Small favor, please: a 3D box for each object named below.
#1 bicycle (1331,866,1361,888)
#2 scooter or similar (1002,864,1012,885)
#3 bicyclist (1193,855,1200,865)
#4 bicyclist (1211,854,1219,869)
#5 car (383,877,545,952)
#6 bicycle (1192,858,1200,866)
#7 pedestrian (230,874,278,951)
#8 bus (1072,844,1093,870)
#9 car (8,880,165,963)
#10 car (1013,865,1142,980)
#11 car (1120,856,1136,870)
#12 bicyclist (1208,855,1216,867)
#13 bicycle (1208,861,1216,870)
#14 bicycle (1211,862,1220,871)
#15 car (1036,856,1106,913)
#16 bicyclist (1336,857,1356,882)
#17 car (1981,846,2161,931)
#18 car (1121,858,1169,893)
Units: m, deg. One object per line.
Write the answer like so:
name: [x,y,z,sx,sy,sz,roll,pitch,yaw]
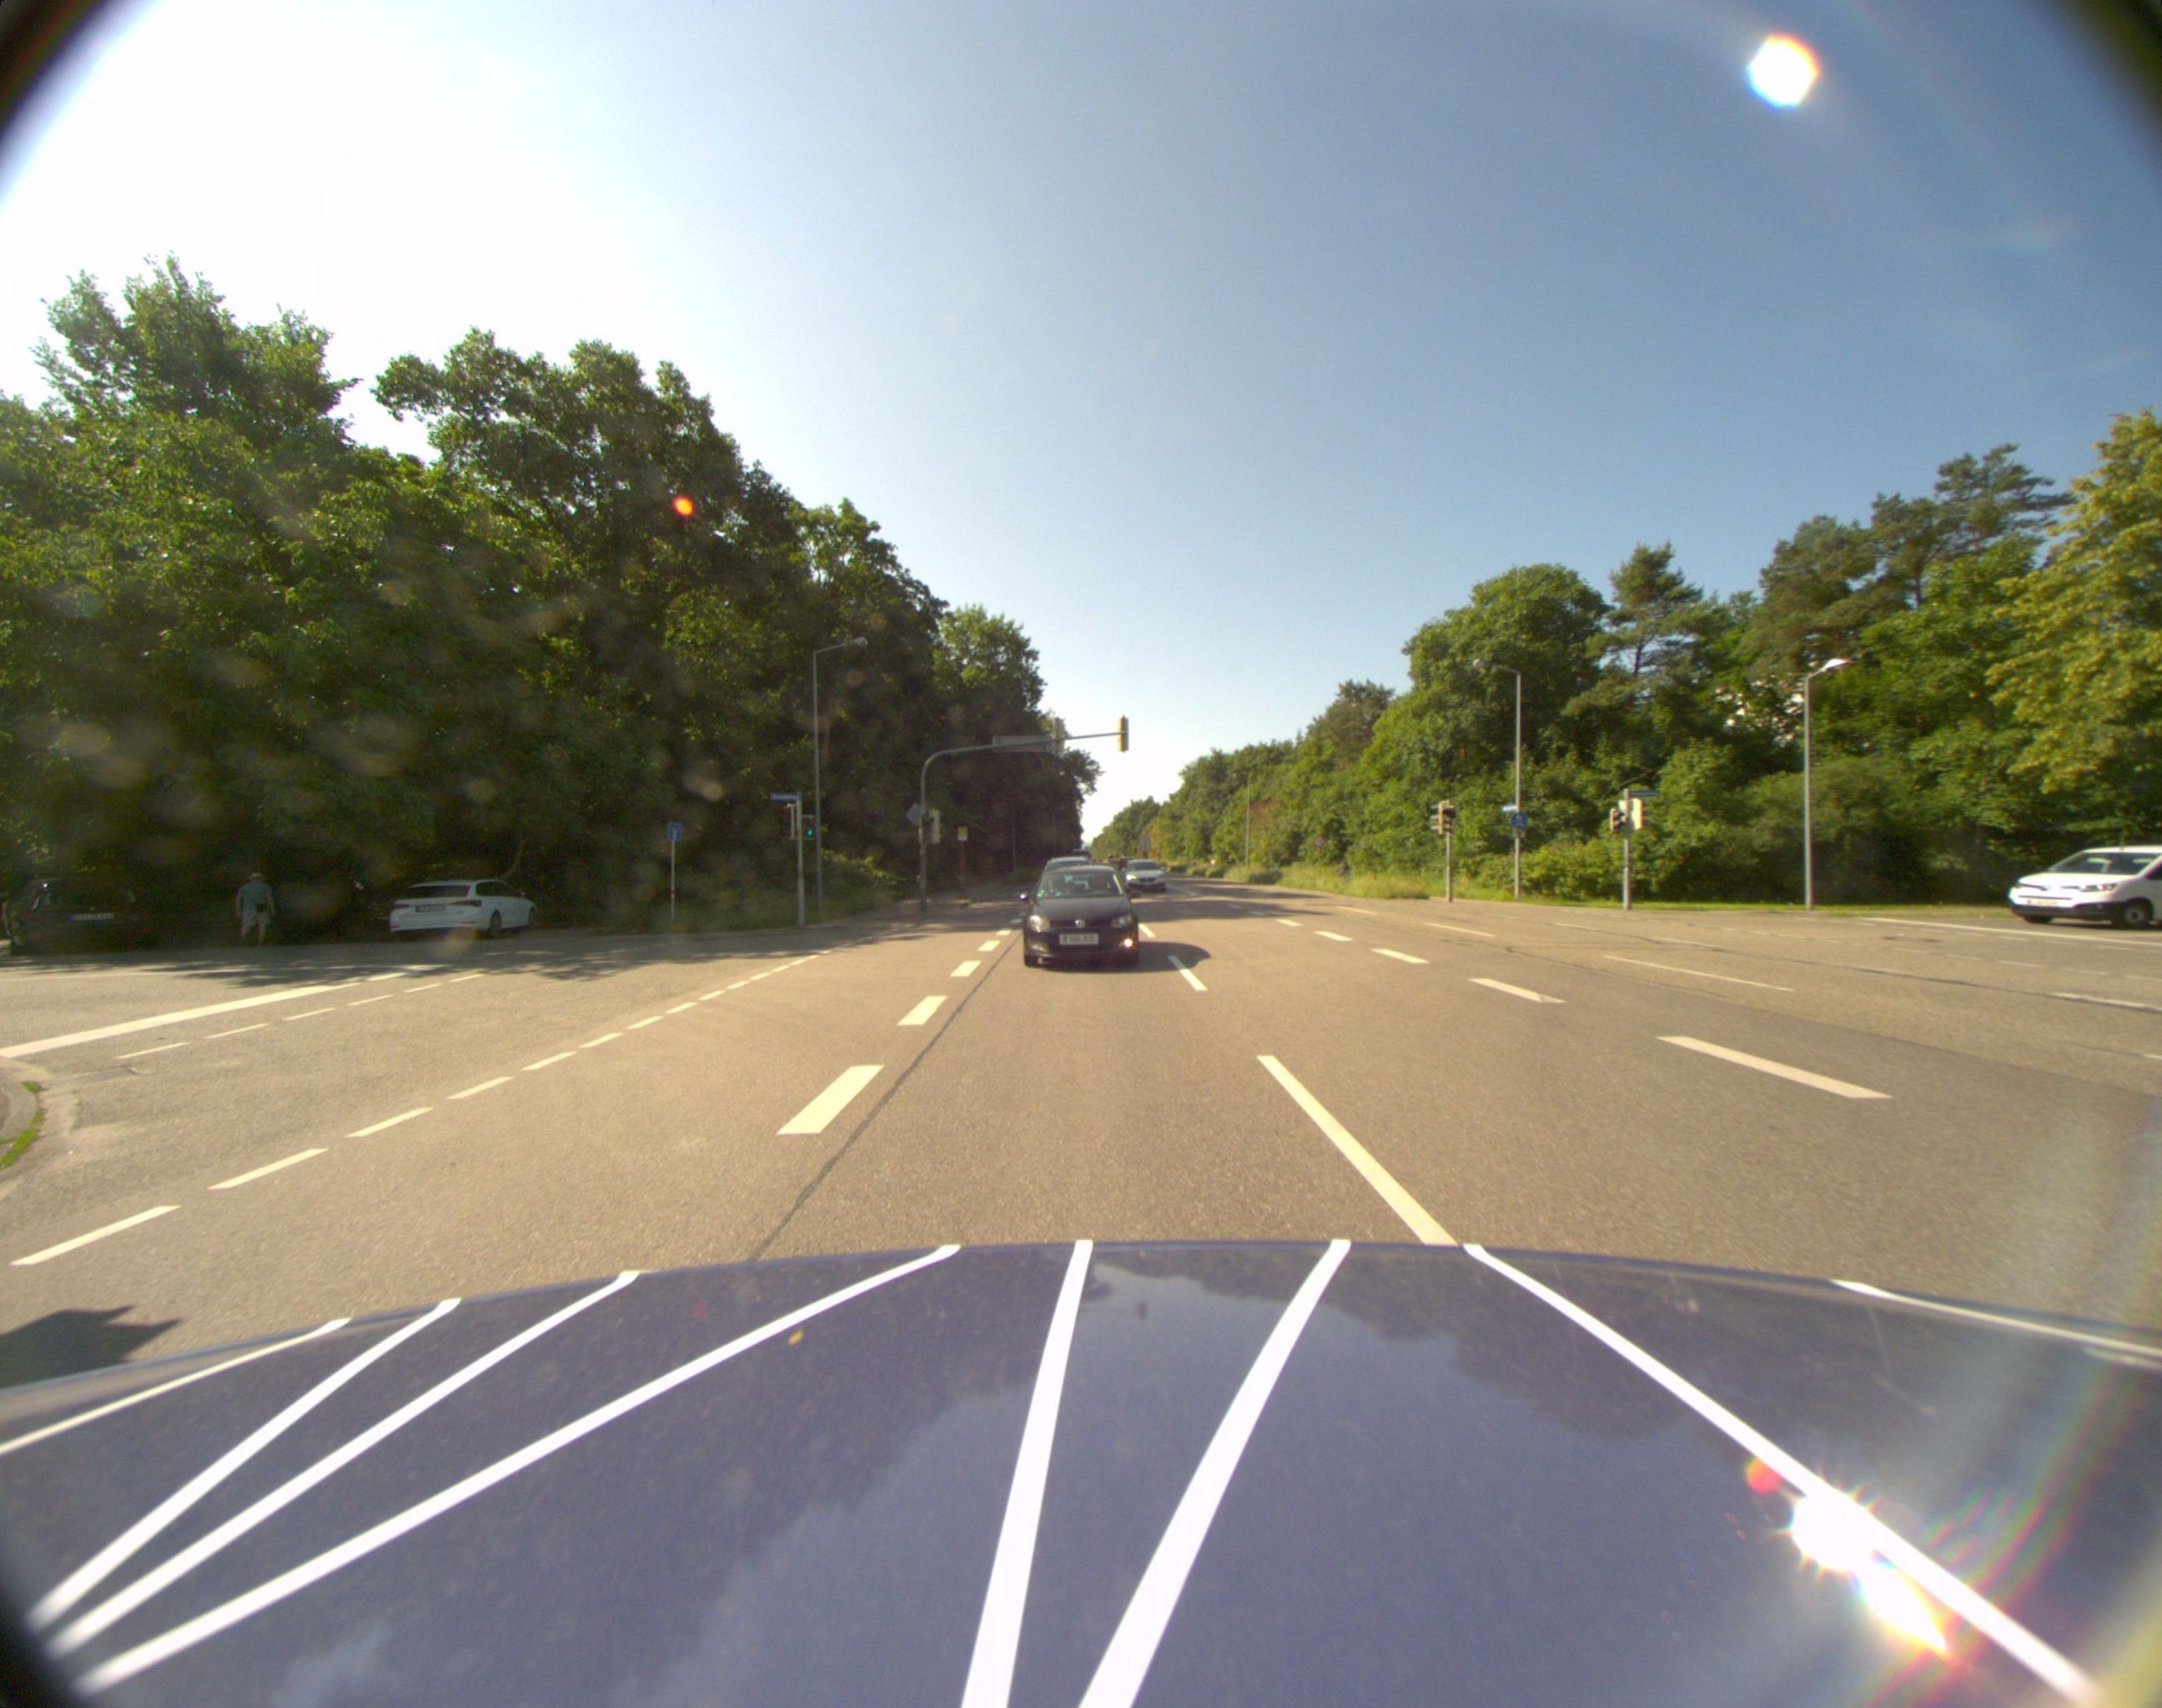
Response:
bicycle: [14.280,1.219,41.043,0.734,1.156,2.372,-1,0,-2]
scooter or similar: [-4.745,1.294,48.687,0.401,1.299,1.328,-1,0,-14]
bicyclist: [14.725,0.750,97.171,0.677,1.335,0.975,-3,1,-3]
bicyclist: [14.278,0.796,81.035,0.612,1.458,0.944,-2,1,2]
car: [-14.926,1.374,18.699,1.630,1.455,4.607,-1,0,-20]
bicycle: [14.737,1.032,97.200,0.677,0.951,1.913,-3,1,-3]
pedestrian: [-18.100,1.259,16.636,0.413,1.620,0.611,0,0,29]
bus: [0.247,0.366,109.239,2.782,3.437,7.792,-3,1,0]
car: [-20.723,1.313,15.808,3.780,1.455,1.632,-1,0,32]
car: [0.016,0.943,12.189,1.650,1.422,4.055,-3,0,2]
car: [5.964,1.089,97.764,1.795,1.687,4.391,0,1,0]
bicyclist: [14.728,0.794,85.490,0.702,1.256,0.727,-2,1,2]
bicycle: [14.710,1.300,85.535,0.605,0.952,2.139,-1,0,2]
bicycle: [14.322,1.286,80.986,0.605,0.909,2.139,-1,0,2]
car: [-0.229,0.940,25.059,1.812,1.639,4.309,-2,0,5]
bicyclist: [14.277,0.827,40.956,0.723,1.303,0.883,-1,0,-2]
car: [23.338,0.731,16.787,4.658,1.767,1.852,0,1,0]
car: [2.859,0.950,34.588,1.788,1.416,4.423,-3,0,0]
